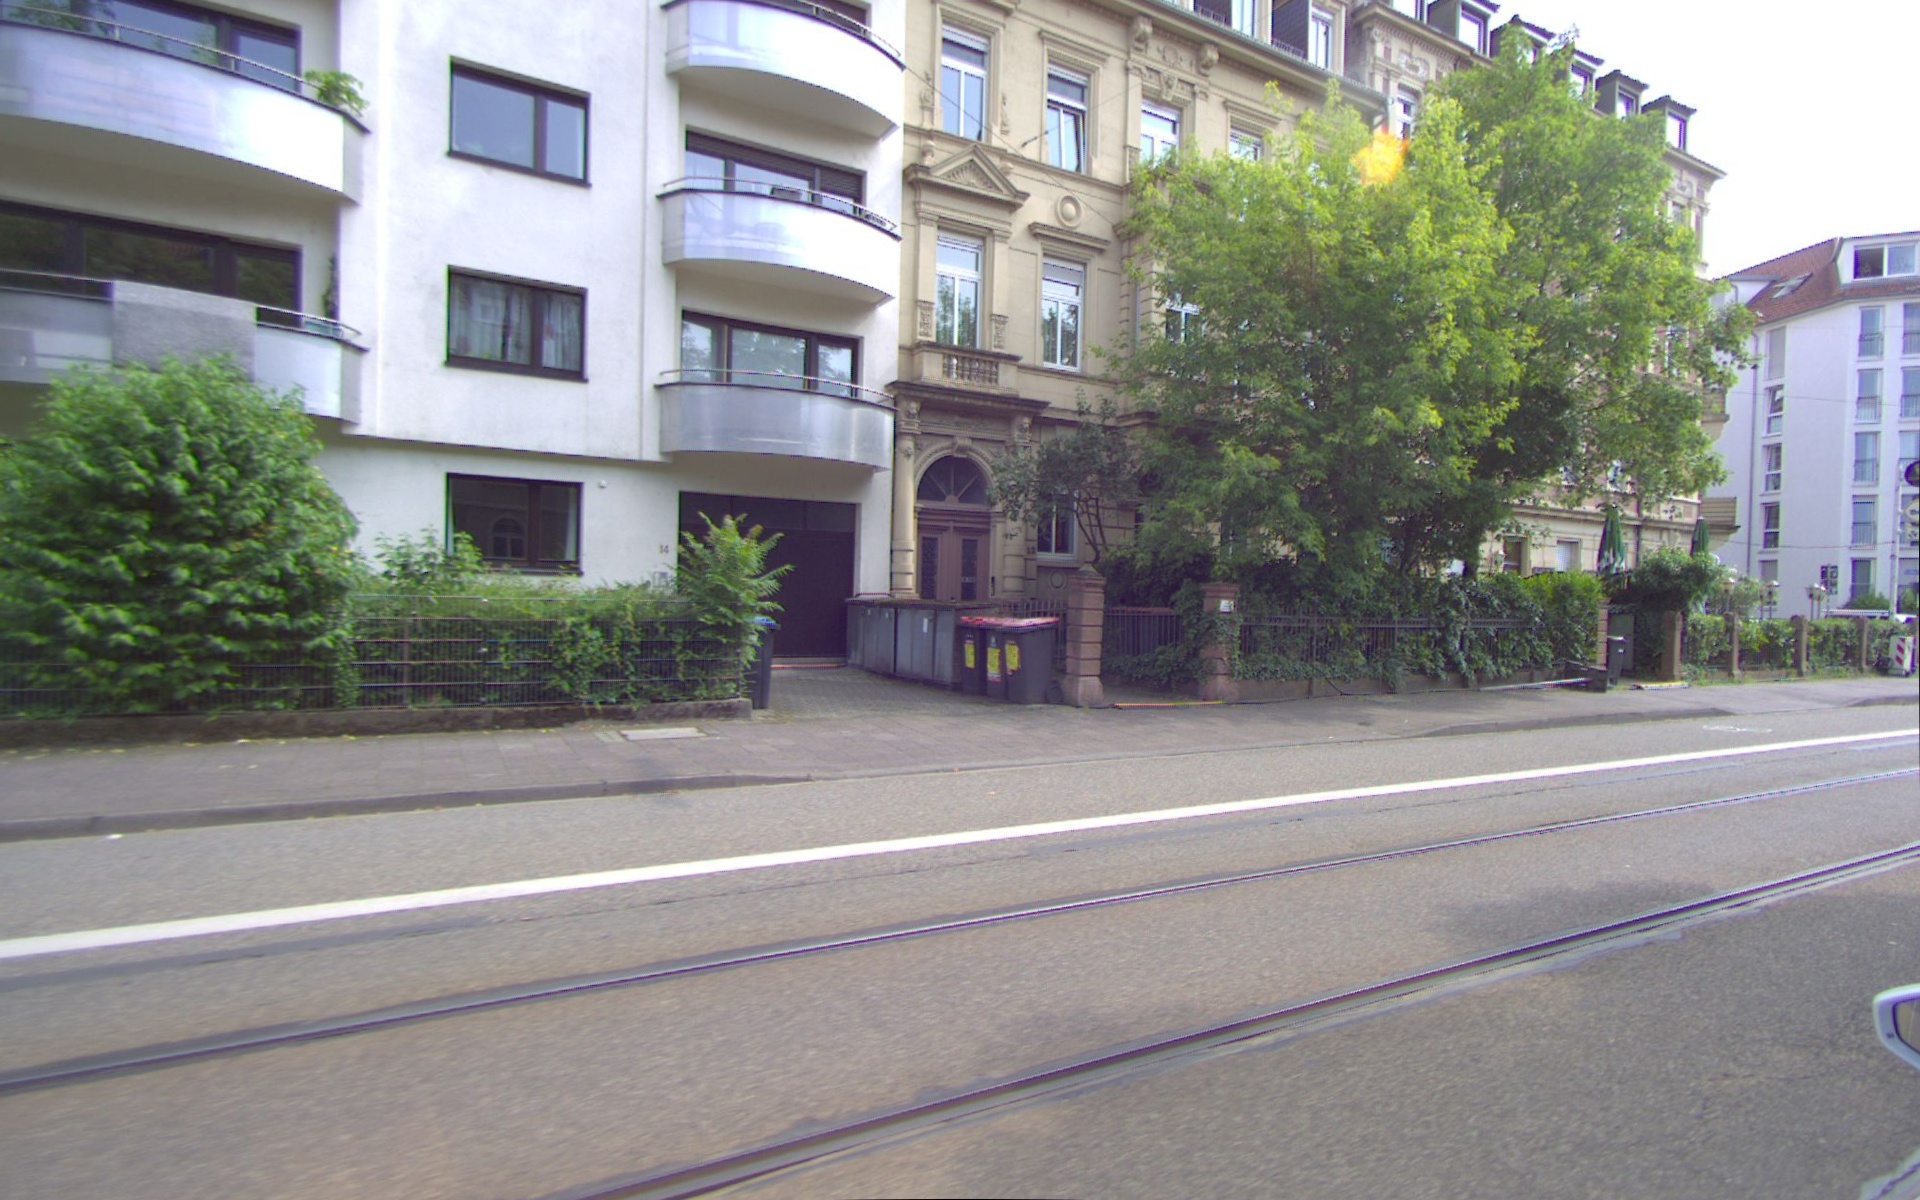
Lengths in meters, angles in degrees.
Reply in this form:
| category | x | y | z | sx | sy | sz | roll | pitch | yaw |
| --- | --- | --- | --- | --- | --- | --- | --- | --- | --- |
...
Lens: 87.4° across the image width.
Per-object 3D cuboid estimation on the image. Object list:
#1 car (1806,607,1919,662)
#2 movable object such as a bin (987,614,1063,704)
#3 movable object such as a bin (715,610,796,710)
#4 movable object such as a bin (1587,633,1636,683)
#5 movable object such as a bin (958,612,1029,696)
| category | x | y | z | sx | sy | sz | roll | pitch | yaw |
| --- | --- | --- | --- | --- | --- | --- | --- | --- | --- |
| car | 36.598 | 1.339 | 39.583 | 2.012 | 2.040 | 4.940 | 1 | 0 | -7 |
| movable object such as a bin | 0.848 | 0.755 | 13.151 | 0.726 | 1.122 | 0.663 | 1 | 0 | -33 |
| movable object such as a bin | -2.452 | 0.699 | 12.013 | 0.725 | 1.122 | 0.769 | 1 | 0 | -30 |
| movable object such as a bin | 12.864 | 1.130 | 19.826 | 0.633 | 0.937 | 0.576 | 1 | 1 | -30 |
| movable object such as a bin | 0.468 | 0.735 | 13.951 | 0.726 | 1.122 | 0.663 | 1 | 0 | -33 |
